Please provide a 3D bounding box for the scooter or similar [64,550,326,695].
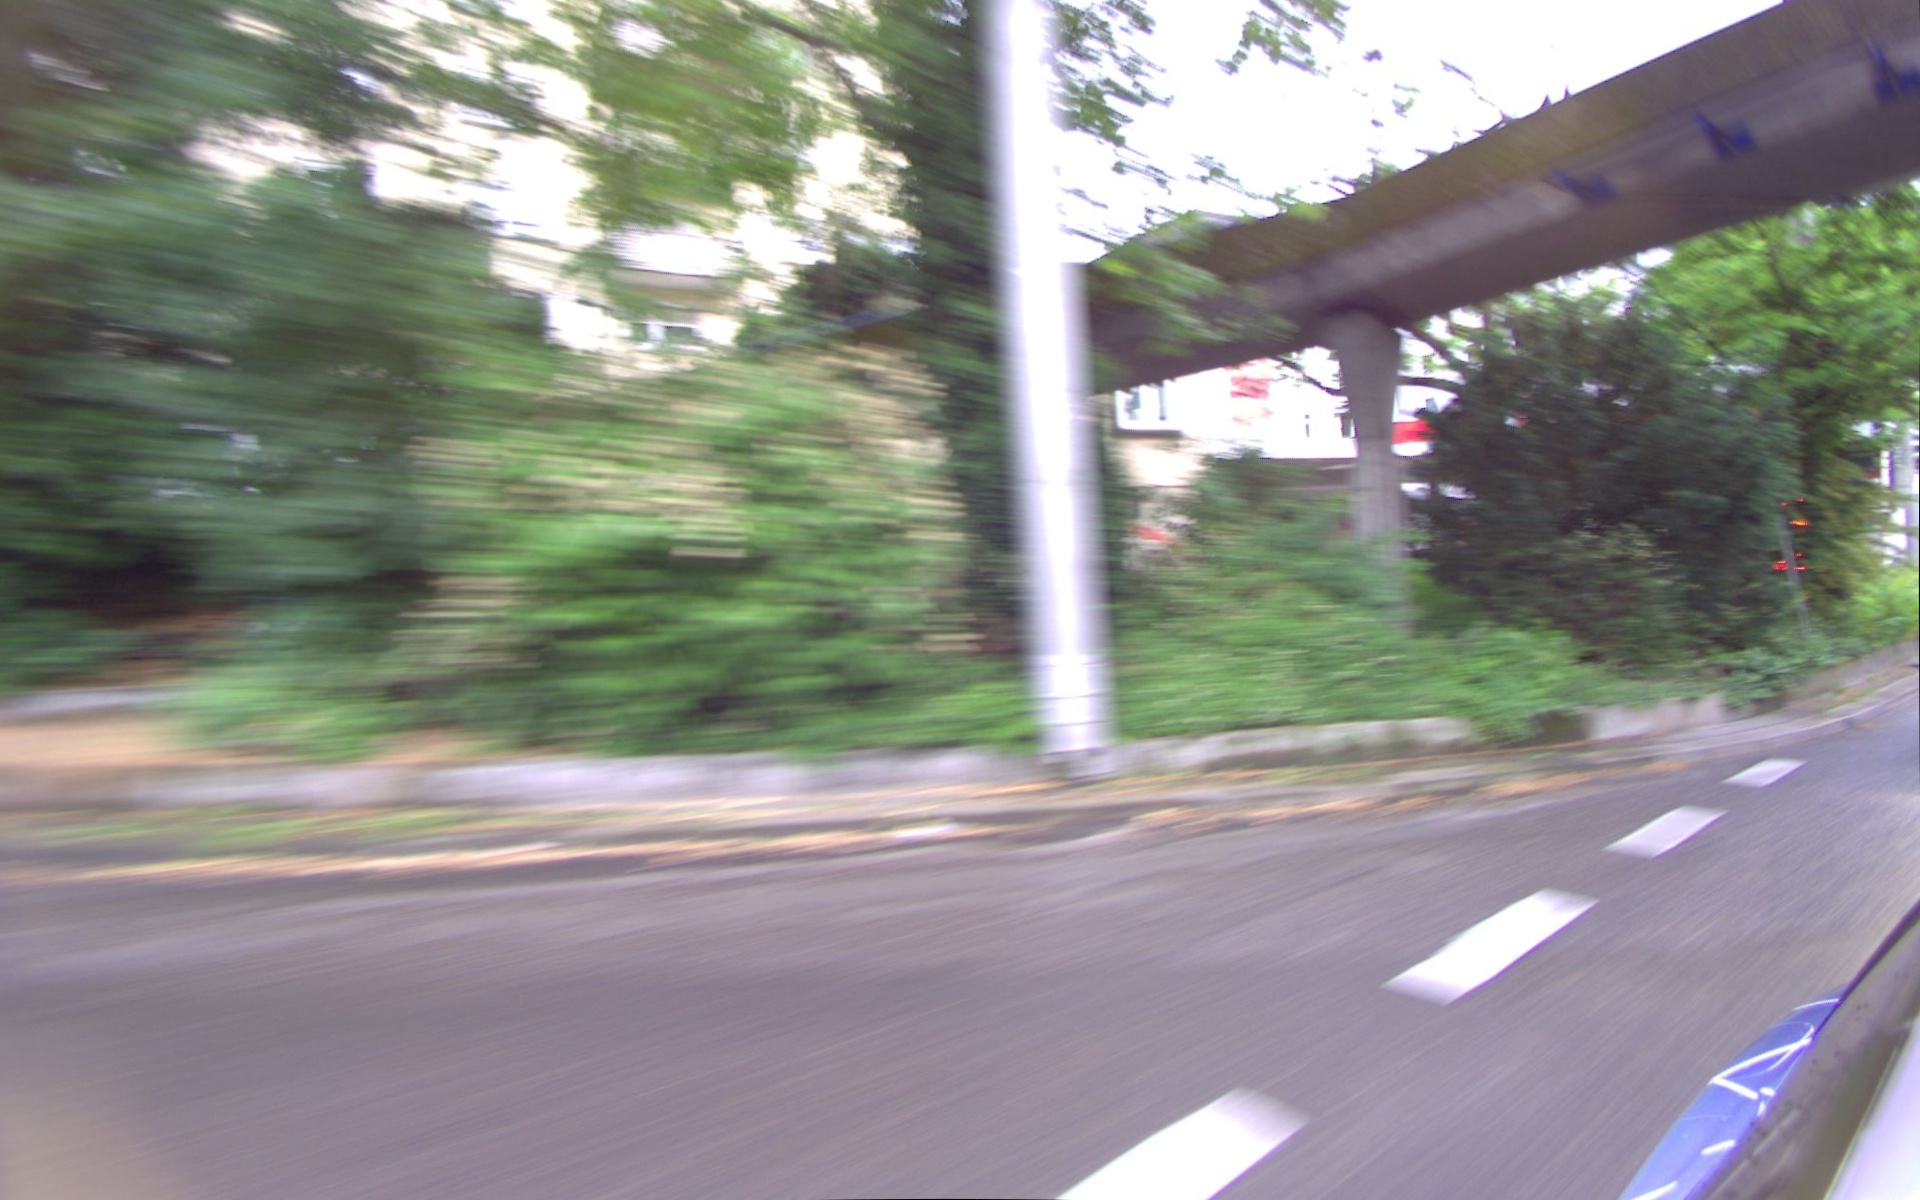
[{"bbox_3d":[-7.036,0.168,9.410,1.884,1.233,0.601,-1,1,-37],"label":"scooter or similar"}]
